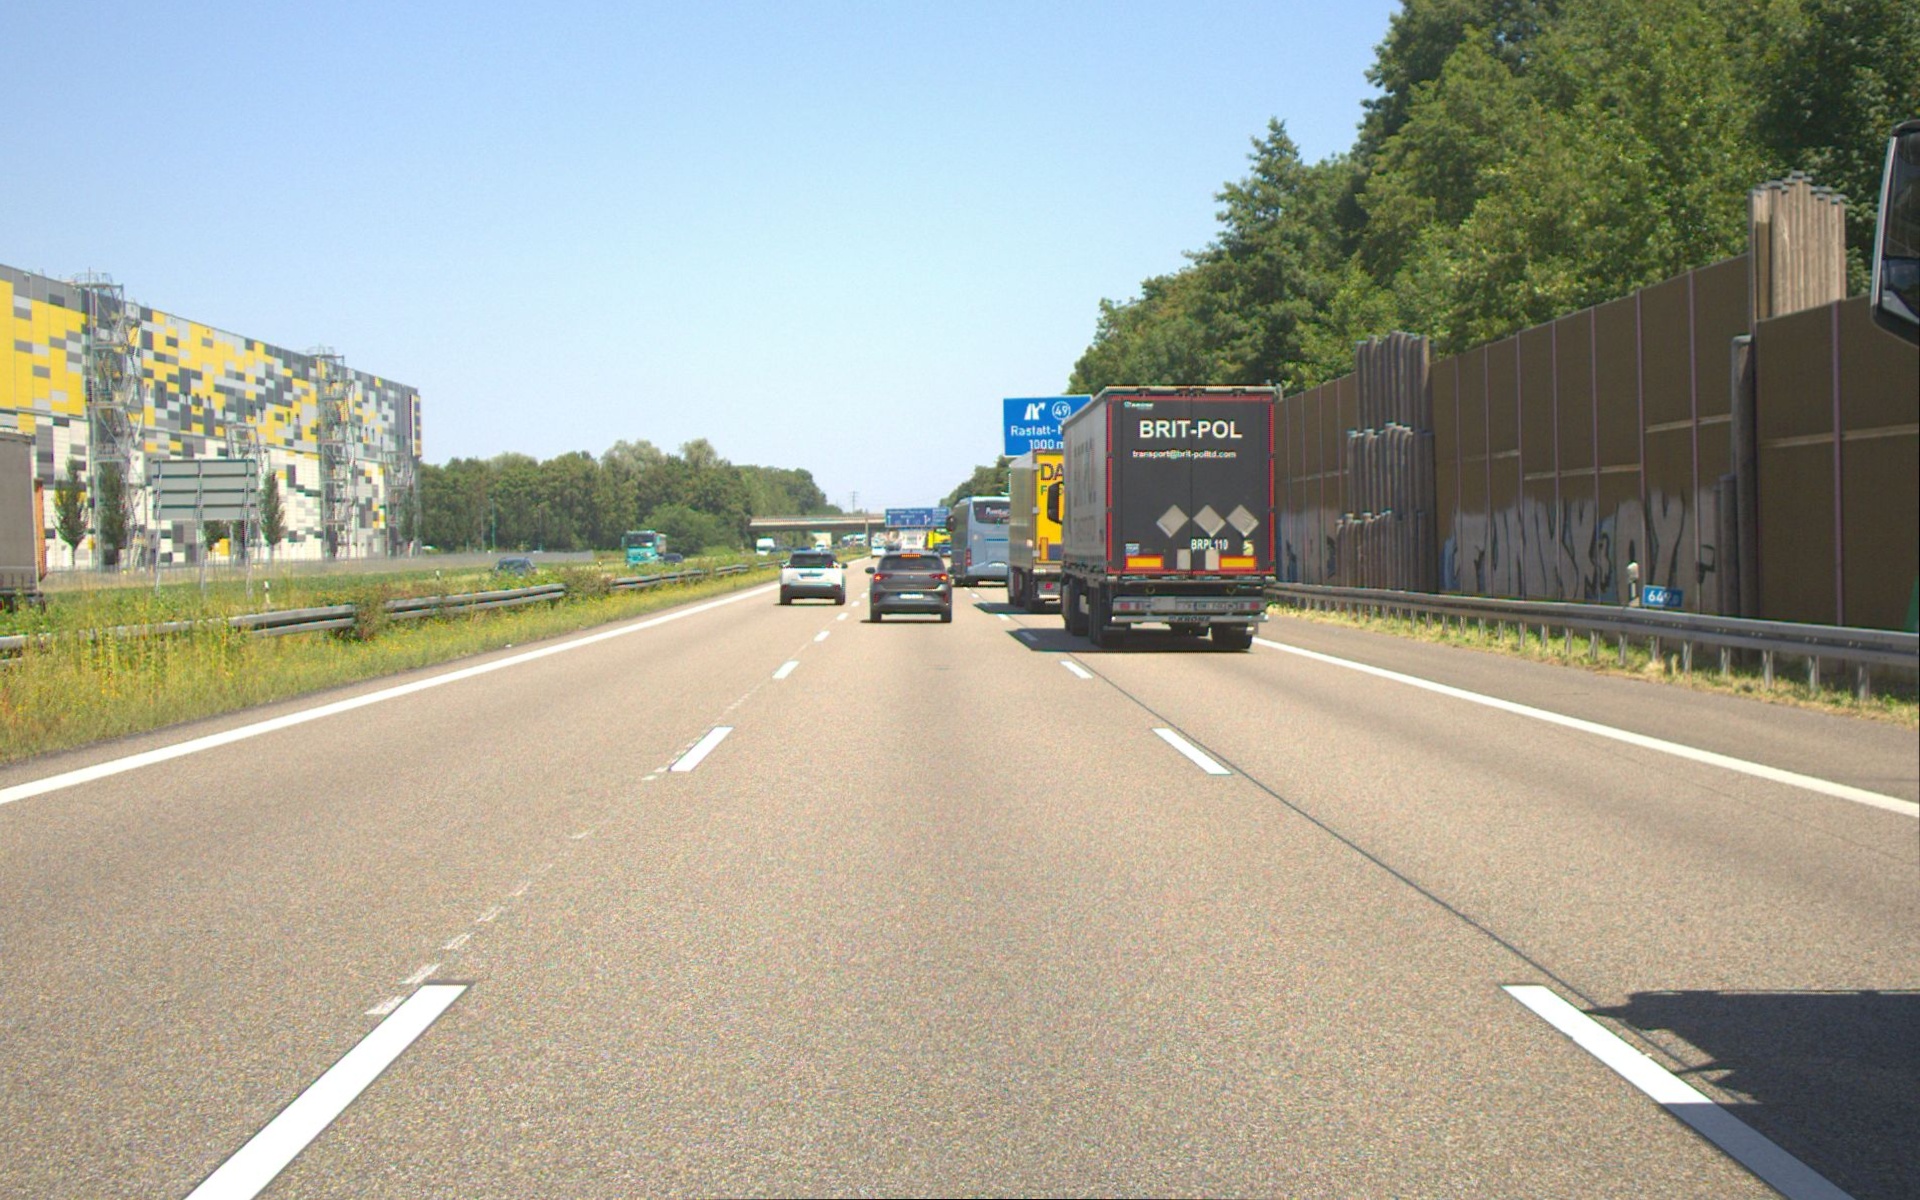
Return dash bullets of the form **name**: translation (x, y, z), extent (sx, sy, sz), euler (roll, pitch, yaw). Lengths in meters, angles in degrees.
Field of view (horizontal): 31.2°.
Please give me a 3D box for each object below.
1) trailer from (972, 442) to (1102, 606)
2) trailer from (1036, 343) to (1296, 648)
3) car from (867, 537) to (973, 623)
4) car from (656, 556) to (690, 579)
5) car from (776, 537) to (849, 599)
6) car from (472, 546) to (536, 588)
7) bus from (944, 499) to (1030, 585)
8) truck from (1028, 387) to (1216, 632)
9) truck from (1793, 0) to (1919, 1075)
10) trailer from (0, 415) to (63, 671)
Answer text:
- **trailer**: translation (1.877, -1.935, 88.380), extent (2.834, 3.940, 11.685), euler (0, 1, -1)
- **trailer**: translation (3.215, -1.631, 58.315), extent (3.106, 4.491, 14.897), euler (0, 1, -2)
- **car**: translation (-0.893, -0.472, 75.384), extent (2.216, 1.784, 5.394), euler (-1, 1, -1)
- **car**: translation (-20.840, -2.375, 249.542), extent (1.993, 1.634, 5.663), euler (-2, 1, -1)
- **car**: translation (-4.143, -0.911, 96.849), extent (1.993, 1.722, 4.131), euler (0, 1, -2)
- **car**: translation (-19.547, -1.405, 147.426), extent (1.993, 1.674, 5.552), euler (-2, 0, 0)
- **bus**: translation (1.059, -2.364, 140.485), extent (3.062, 3.315, 8.275), euler (-1, 1, -2)
- **truck**: translation (2.994, -1.672, 65.360), extent (3.087, 4.425, 6.053), euler (0, 0, -2)
- **truck**: translation (4.331, -0.652, 8.870), extent (3.002, 4.110, 5.253), euler (0, 0, -1)
- **trailer**: translation (-18.097, -0.916, 56.700), extent (3.195, 4.407, 13.327), euler (-2, 1, -1)
